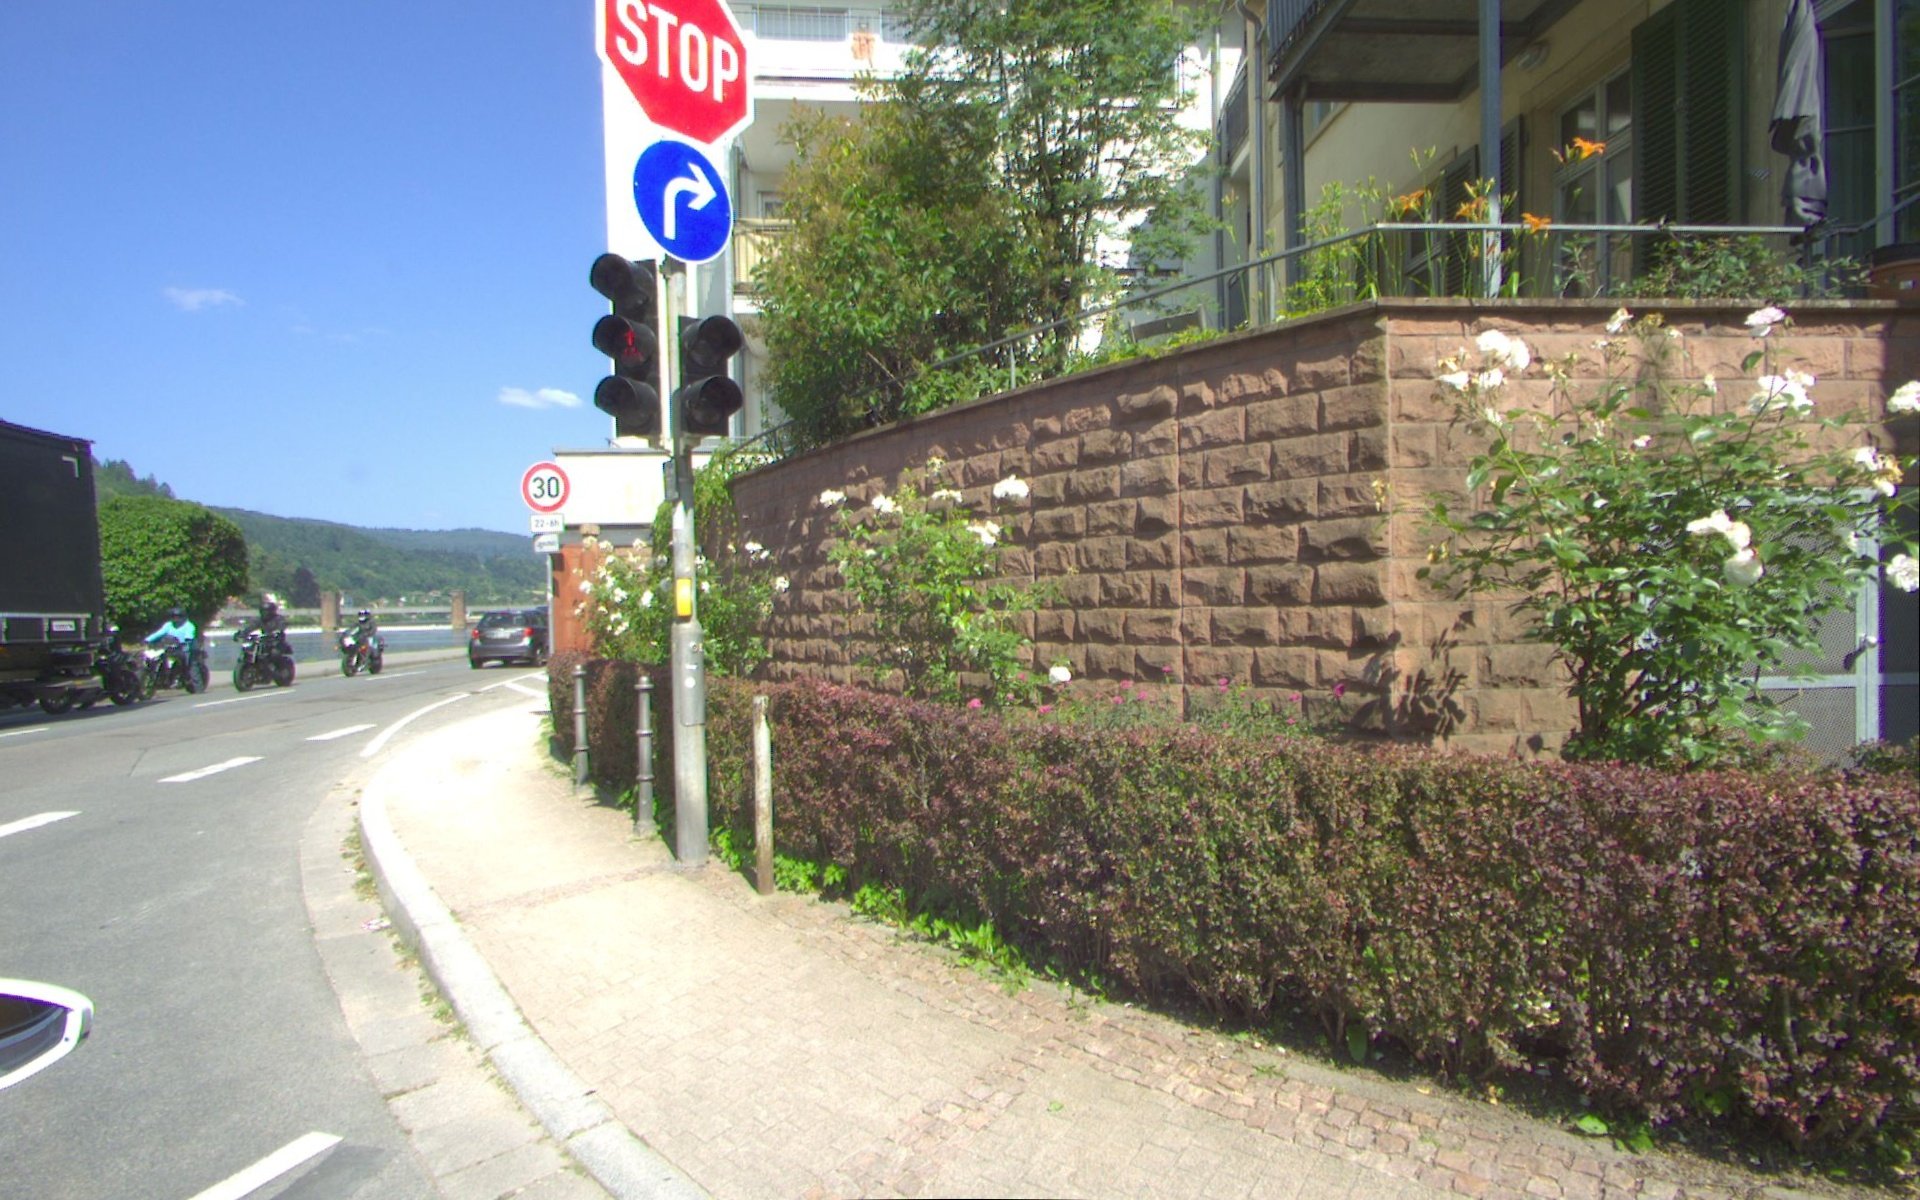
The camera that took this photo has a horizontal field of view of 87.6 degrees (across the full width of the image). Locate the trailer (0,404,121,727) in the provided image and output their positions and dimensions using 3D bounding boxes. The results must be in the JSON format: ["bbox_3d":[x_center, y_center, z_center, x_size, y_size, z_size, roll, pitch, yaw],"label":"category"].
[{"bbox_3d":[-13.042,-0.428,7.820,2.788,4.158,13.765,-3,0,-7],"label":"trailer"}]

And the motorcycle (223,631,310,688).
[{"bbox_3d":[-13.774,1.151,19.952,0.646,1.038,1.814,-1,0,-8],"label":"motorcycle"}]

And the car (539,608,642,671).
[{"bbox_3d":[-8.929,0.914,24.495,1.661,1.417,3.737,0,-1,-9],"label":"car"}]

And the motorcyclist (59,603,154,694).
[{"bbox_3d":[-14.551,0.805,17.104,0.766,1.479,0.991,-3,0,-8],"label":"motorcyclist"}]

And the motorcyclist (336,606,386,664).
[{"bbox_3d":[-14.637,0.841,24.495,0.706,1.384,0.936,-1,0,-8],"label":"motorcyclist"}]

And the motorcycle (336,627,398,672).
[{"bbox_3d":[-14.604,1.207,24.721,0.646,1.038,1.814,-1,0,-8],"label":"motorcycle"}]

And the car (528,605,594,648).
[{"bbox_3d":[-16.820,1.096,42.402,1.739,1.691,3.772,0,0,-8],"label":"car"}]

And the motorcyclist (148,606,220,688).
[{"bbox_3d":[-15.229,0.901,19.679,0.653,1.545,0.991,-3,0,-8],"label":"motorcyclist"}]

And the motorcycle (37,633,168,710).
[{"bbox_3d":[-14.548,1.181,17.076,0.623,1.138,2.092,-3,0,-8],"label":"motorcycle"}]

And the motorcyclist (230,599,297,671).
[{"bbox_3d":[-13.799,0.683,19.858,0.774,1.384,0.800,-1,0,-8],"label":"motorcyclist"}]

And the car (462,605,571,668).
[{"bbox_3d":[-11.734,0.915,26.752,1.695,1.518,3.878,-1,0,-9],"label":"car"}]

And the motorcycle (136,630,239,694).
[{"bbox_3d":[-15.224,1.190,19.806,0.623,1.138,2.092,-3,0,-8],"label":"motorcycle"}]
